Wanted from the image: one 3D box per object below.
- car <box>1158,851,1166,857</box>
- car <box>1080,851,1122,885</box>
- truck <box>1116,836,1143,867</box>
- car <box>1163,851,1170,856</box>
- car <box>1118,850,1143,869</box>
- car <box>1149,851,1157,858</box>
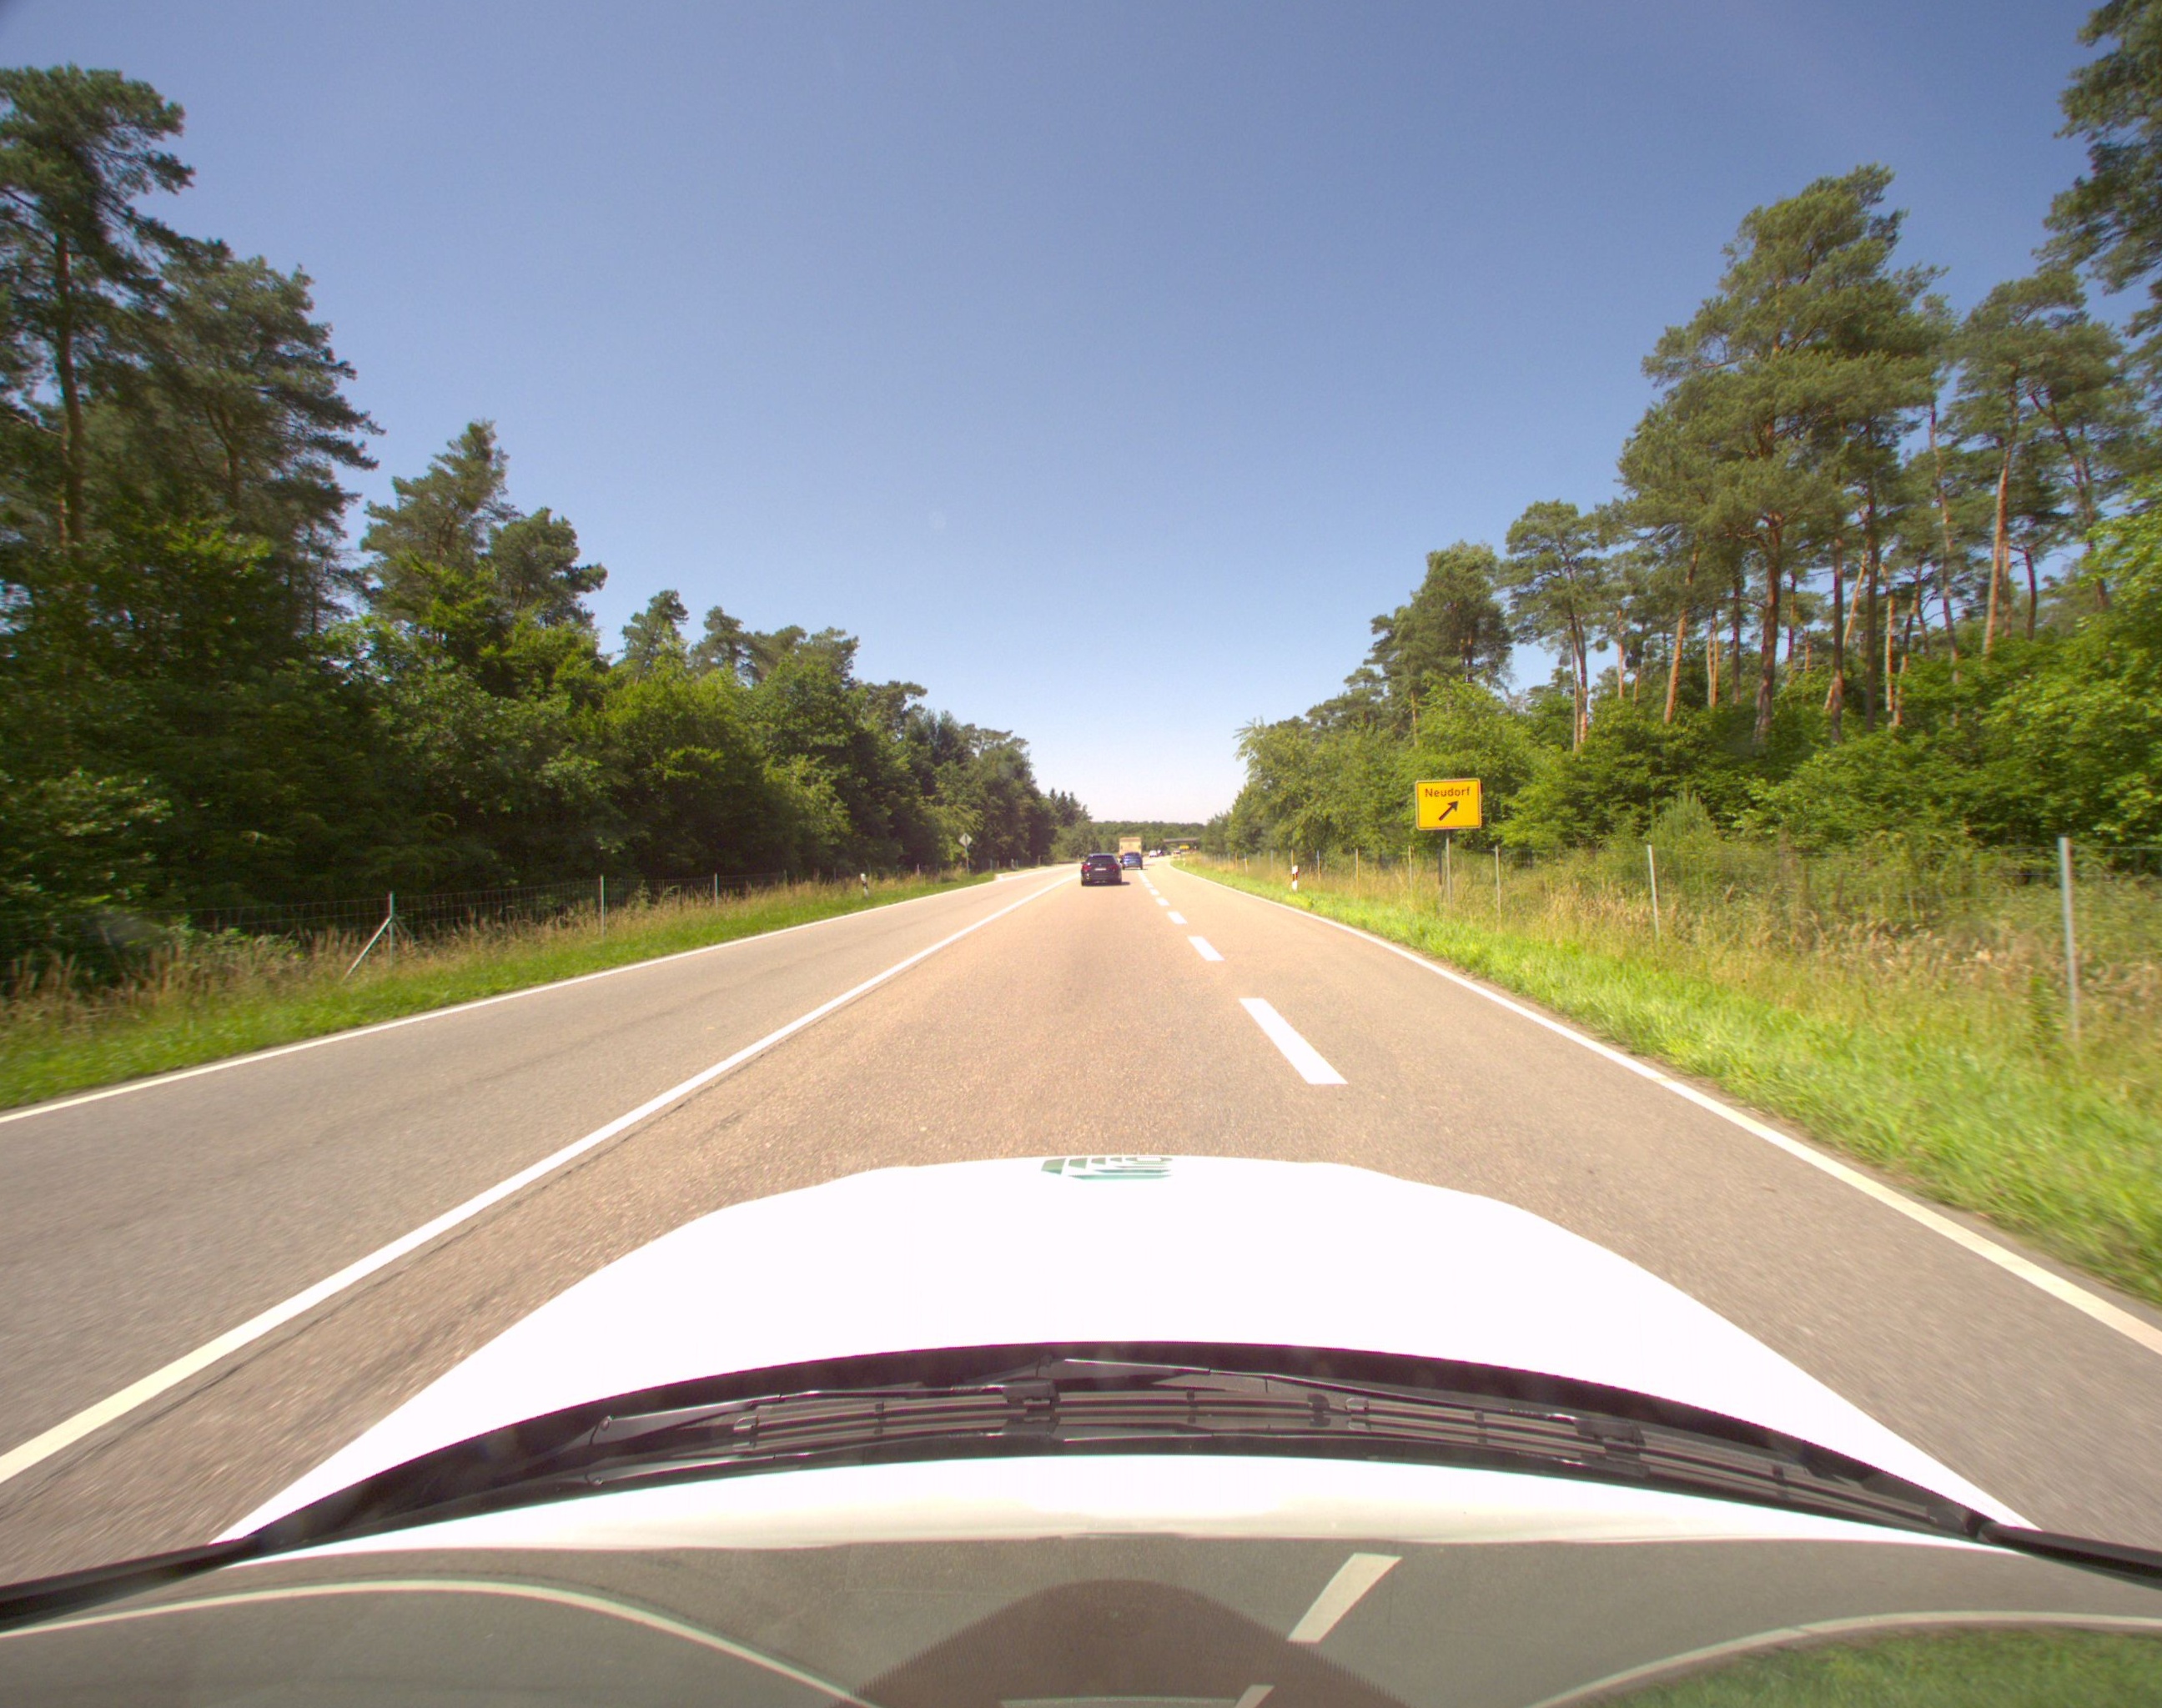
[{"bbox_3d":[22.369,-0.024,225.107,1.984,1.420,4.006,-1,0,5],"label":"car"},{"bbox_3d":[0.905,0.639,38.518,1.815,1.470,3.999,-2,0,0],"label":"car"},{"bbox_3d":[5.806,-0.307,96.786,2.952,3.387,6.446,-2,0,4],"label":"truck"},{"bbox_3d":[26.358,-0.155,251.959,1.983,1.636,4.007,-3,0,6],"label":"car"},{"bbox_3d":[4.415,0.491,72.653,1.941,1.541,4.000,-3,0,0],"label":"car"},{"bbox_3d":[17.299,0.132,195.893,1.855,1.605,4.003,-3,0,2],"label":"car"}]
